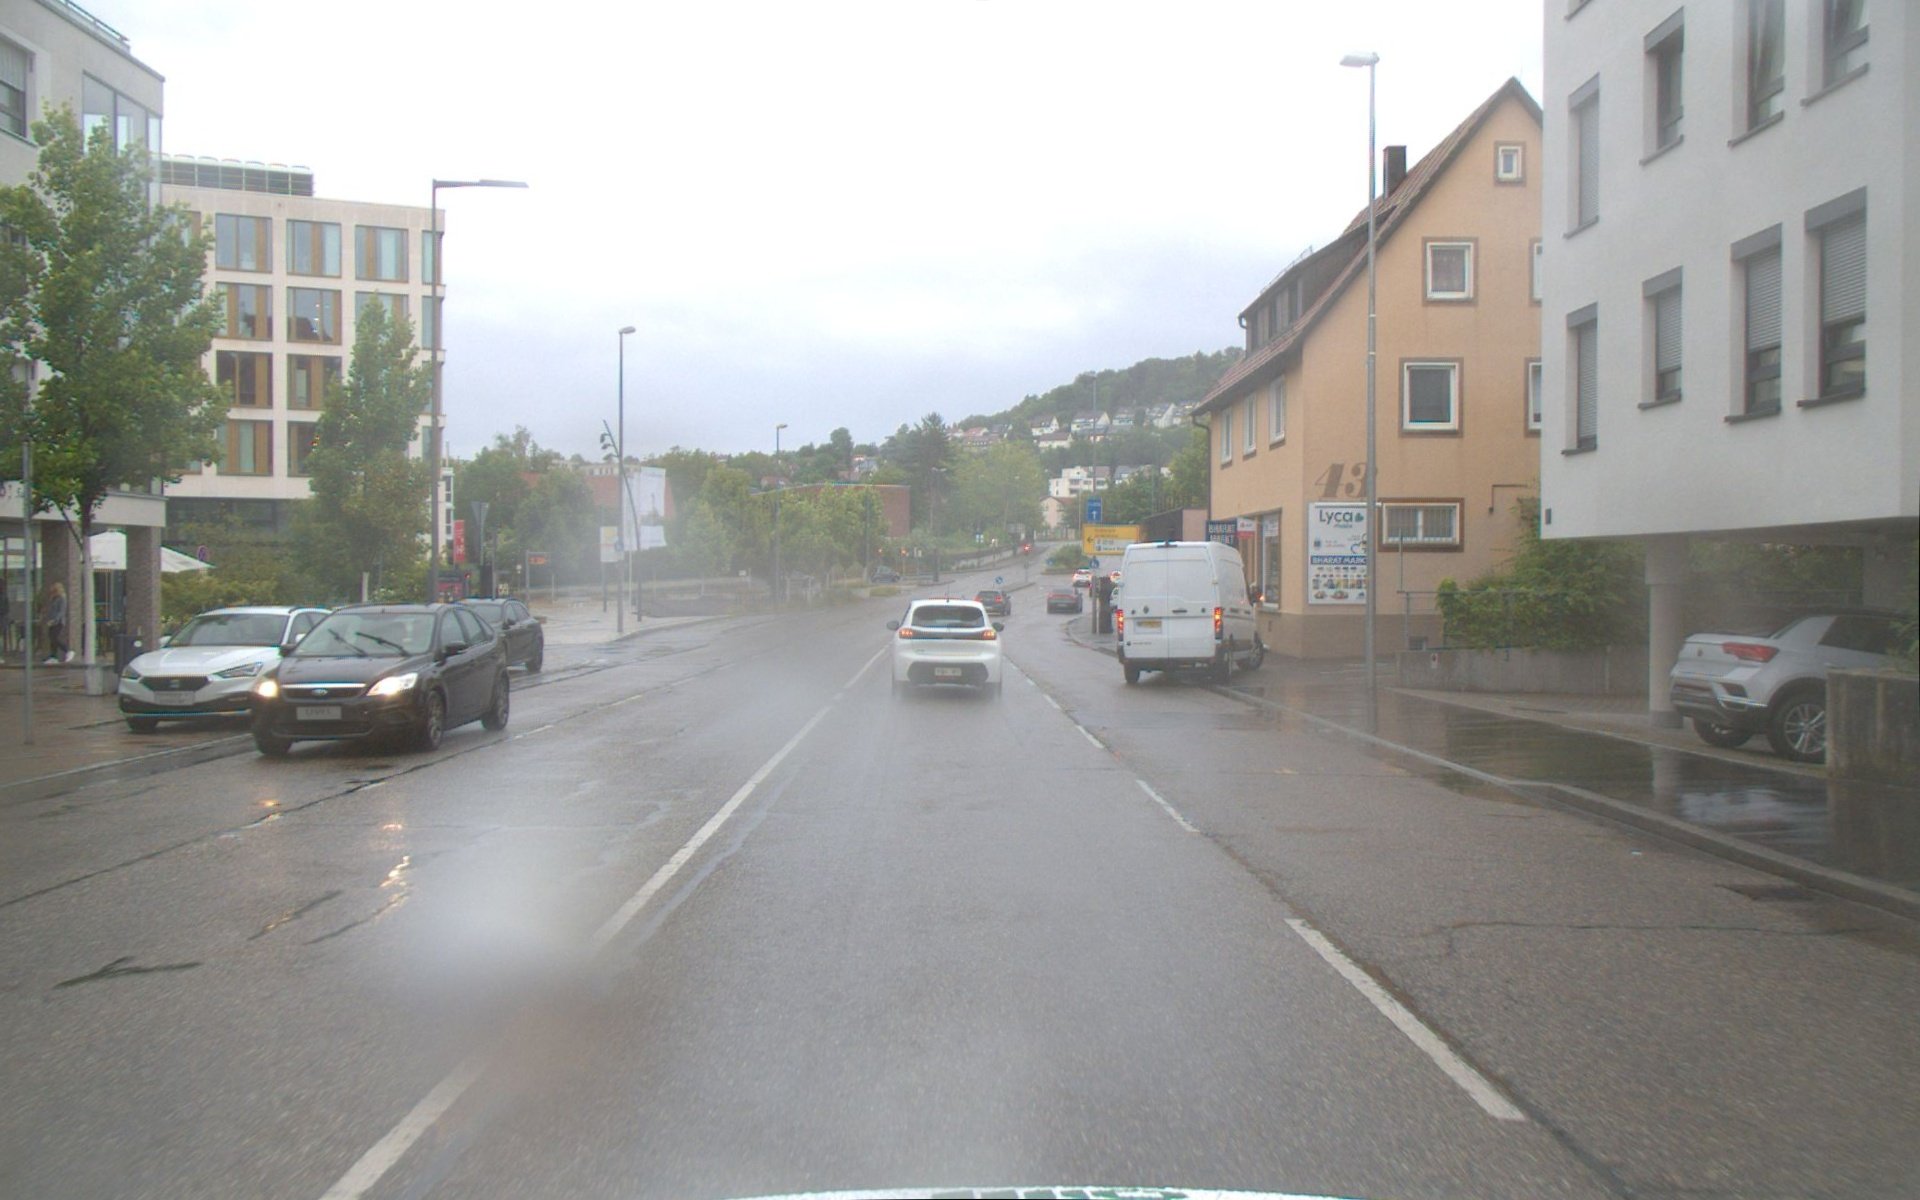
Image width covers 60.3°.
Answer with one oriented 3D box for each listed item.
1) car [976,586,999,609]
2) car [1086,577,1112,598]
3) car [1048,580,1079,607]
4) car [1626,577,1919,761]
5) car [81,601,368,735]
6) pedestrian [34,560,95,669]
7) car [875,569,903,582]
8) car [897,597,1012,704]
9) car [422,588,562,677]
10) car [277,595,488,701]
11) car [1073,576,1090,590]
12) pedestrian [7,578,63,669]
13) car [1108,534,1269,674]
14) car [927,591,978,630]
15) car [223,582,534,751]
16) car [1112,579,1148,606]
[{"bbox_3d":[1.523,-0.136,90.980,1.188,1.176,2.270,-1,-1,0],"label":"car"},{"bbox_3d":[10.870,-0.956,129.366,1.614,1.511,3.365,-1,-1,-1],"label":"car"},{"bbox_3d":[6.185,-0.418,99.067,1.698,1.411,3.354,1,4,1],"label":"car"},{"bbox_3d":[9.061,0.744,16.833,3.716,1.556,1.819,6,0,-2],"label":"car"},{"bbox_3d":[-9.030,0.799,20.750,1.759,1.488,4.475,0,-1,-3],"label":"car"},{"bbox_3d":[-18.185,0.290,33.597,0.731,2.183,0.771,0,-1,14],"label":"pedestrian"},{"bbox_3d":[-6.776,-2.344,157.509,2.391,1.177,1.358,0,-1,-29],"label":"car"},{"bbox_3d":[-0.099,0.757,26.161,1.656,1.546,3.932,-1,0,-1],"label":"car"},{"bbox_3d":[-9.294,0.593,33.178,1.555,1.610,4.470,-1,0,-1],"label":"car"},{"bbox_3d":[-9.140,0.747,26.600,1.656,1.536,4.578,-1,-1,2],"label":"car"},{"bbox_3d":[10.644,-1.498,144.616,1.356,1.146,2.610,-1,-1,2],"label":"car"},{"bbox_3d":[-21.139,0.543,37.812,0.833,2.049,0.935,-1,-1,-8],"label":"pedestrian"},{"bbox_3d":[4.602,0.121,32.327,2.242,2.424,6.629,-1,-1,15],"label":"car"},{"bbox_3d":[-0.280,0.355,57.828,1.706,1.318,3.333,-1,0,-1],"label":"car"},{"bbox_3d":[-6.011,0.658,17.651,1.842,1.550,4.183,-1,-1,0],"label":"car"},{"bbox_3d":[10.303,-0.470,99.865,1.693,1.523,4.485,-2,1,11],"label":"car"}]
